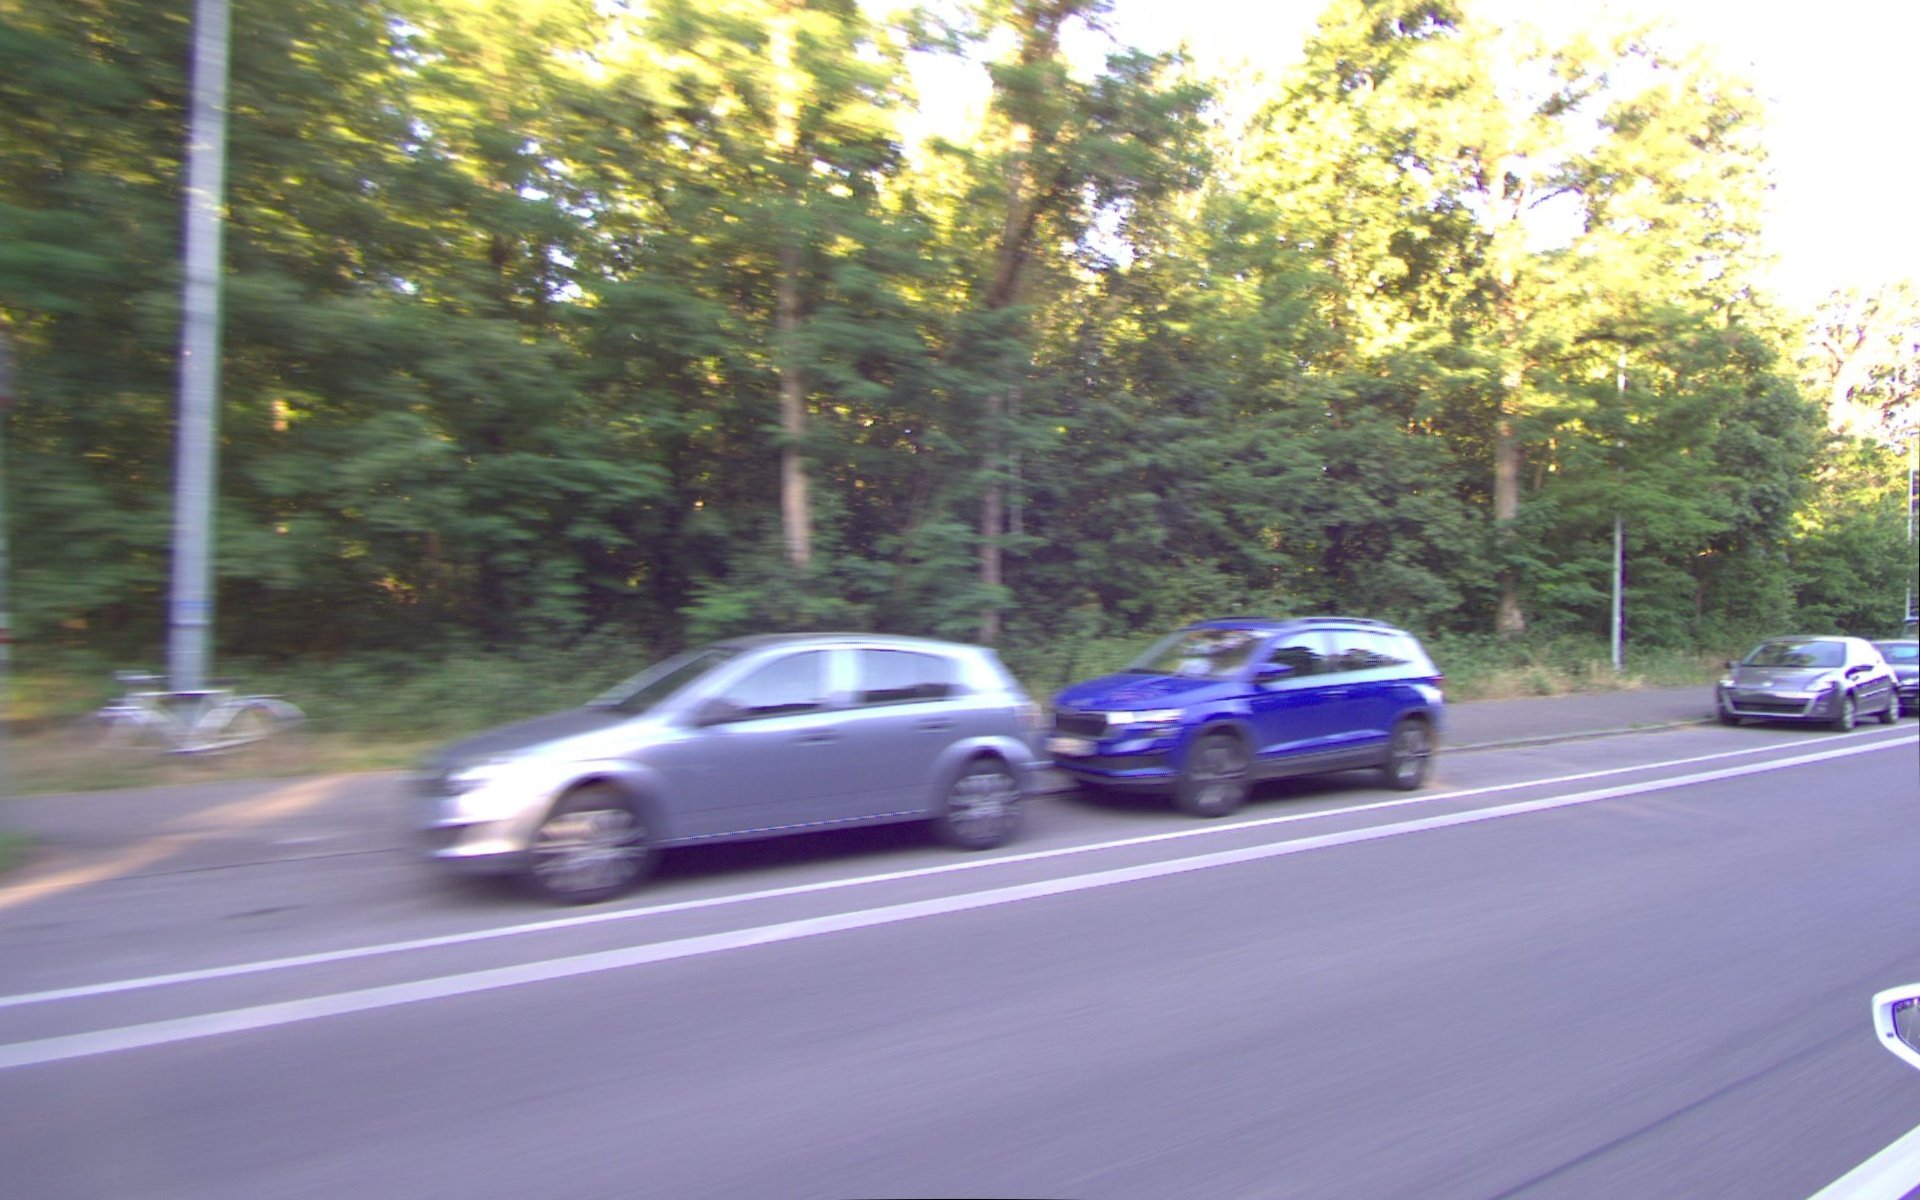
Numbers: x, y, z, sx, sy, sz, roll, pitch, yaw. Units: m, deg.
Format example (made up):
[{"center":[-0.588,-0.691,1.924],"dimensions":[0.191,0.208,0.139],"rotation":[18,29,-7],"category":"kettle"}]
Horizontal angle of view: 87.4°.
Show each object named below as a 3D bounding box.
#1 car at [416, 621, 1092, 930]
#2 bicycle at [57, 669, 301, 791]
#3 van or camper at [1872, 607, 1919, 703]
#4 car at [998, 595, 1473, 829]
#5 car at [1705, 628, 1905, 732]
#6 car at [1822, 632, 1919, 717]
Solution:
[{"center":[-1.257,0.937,6.816],"dimensions":[4.199,1.521,1.660],"rotation":[1,-3,-32],"category":"car"},{"center":[-7.057,1.151,9.178],"dimensions":[1.698,0.988,0.451],"rotation":[1,-2,-31],"category":"bicycle"},{"center":[23.248,1.250,23.257],"dimensions":[4.962,2.121,2.019],"rotation":[1,-3,-34],"category":"van or camper"},{"center":[2.678,0.905,9.403],"dimensions":[4.473,1.734,1.736],"rotation":[1,-3,-32],"category":"car"},{"center":[14.248,1.270,16.885],"dimensions":[4.000,1.554,1.606],"rotation":[1,-3,-35],"category":"car"},{"center":[18.528,1.406,19.766],"dimensions":[3.934,1.513,1.532],"rotation":[1,-3,-37],"category":"car"}]
